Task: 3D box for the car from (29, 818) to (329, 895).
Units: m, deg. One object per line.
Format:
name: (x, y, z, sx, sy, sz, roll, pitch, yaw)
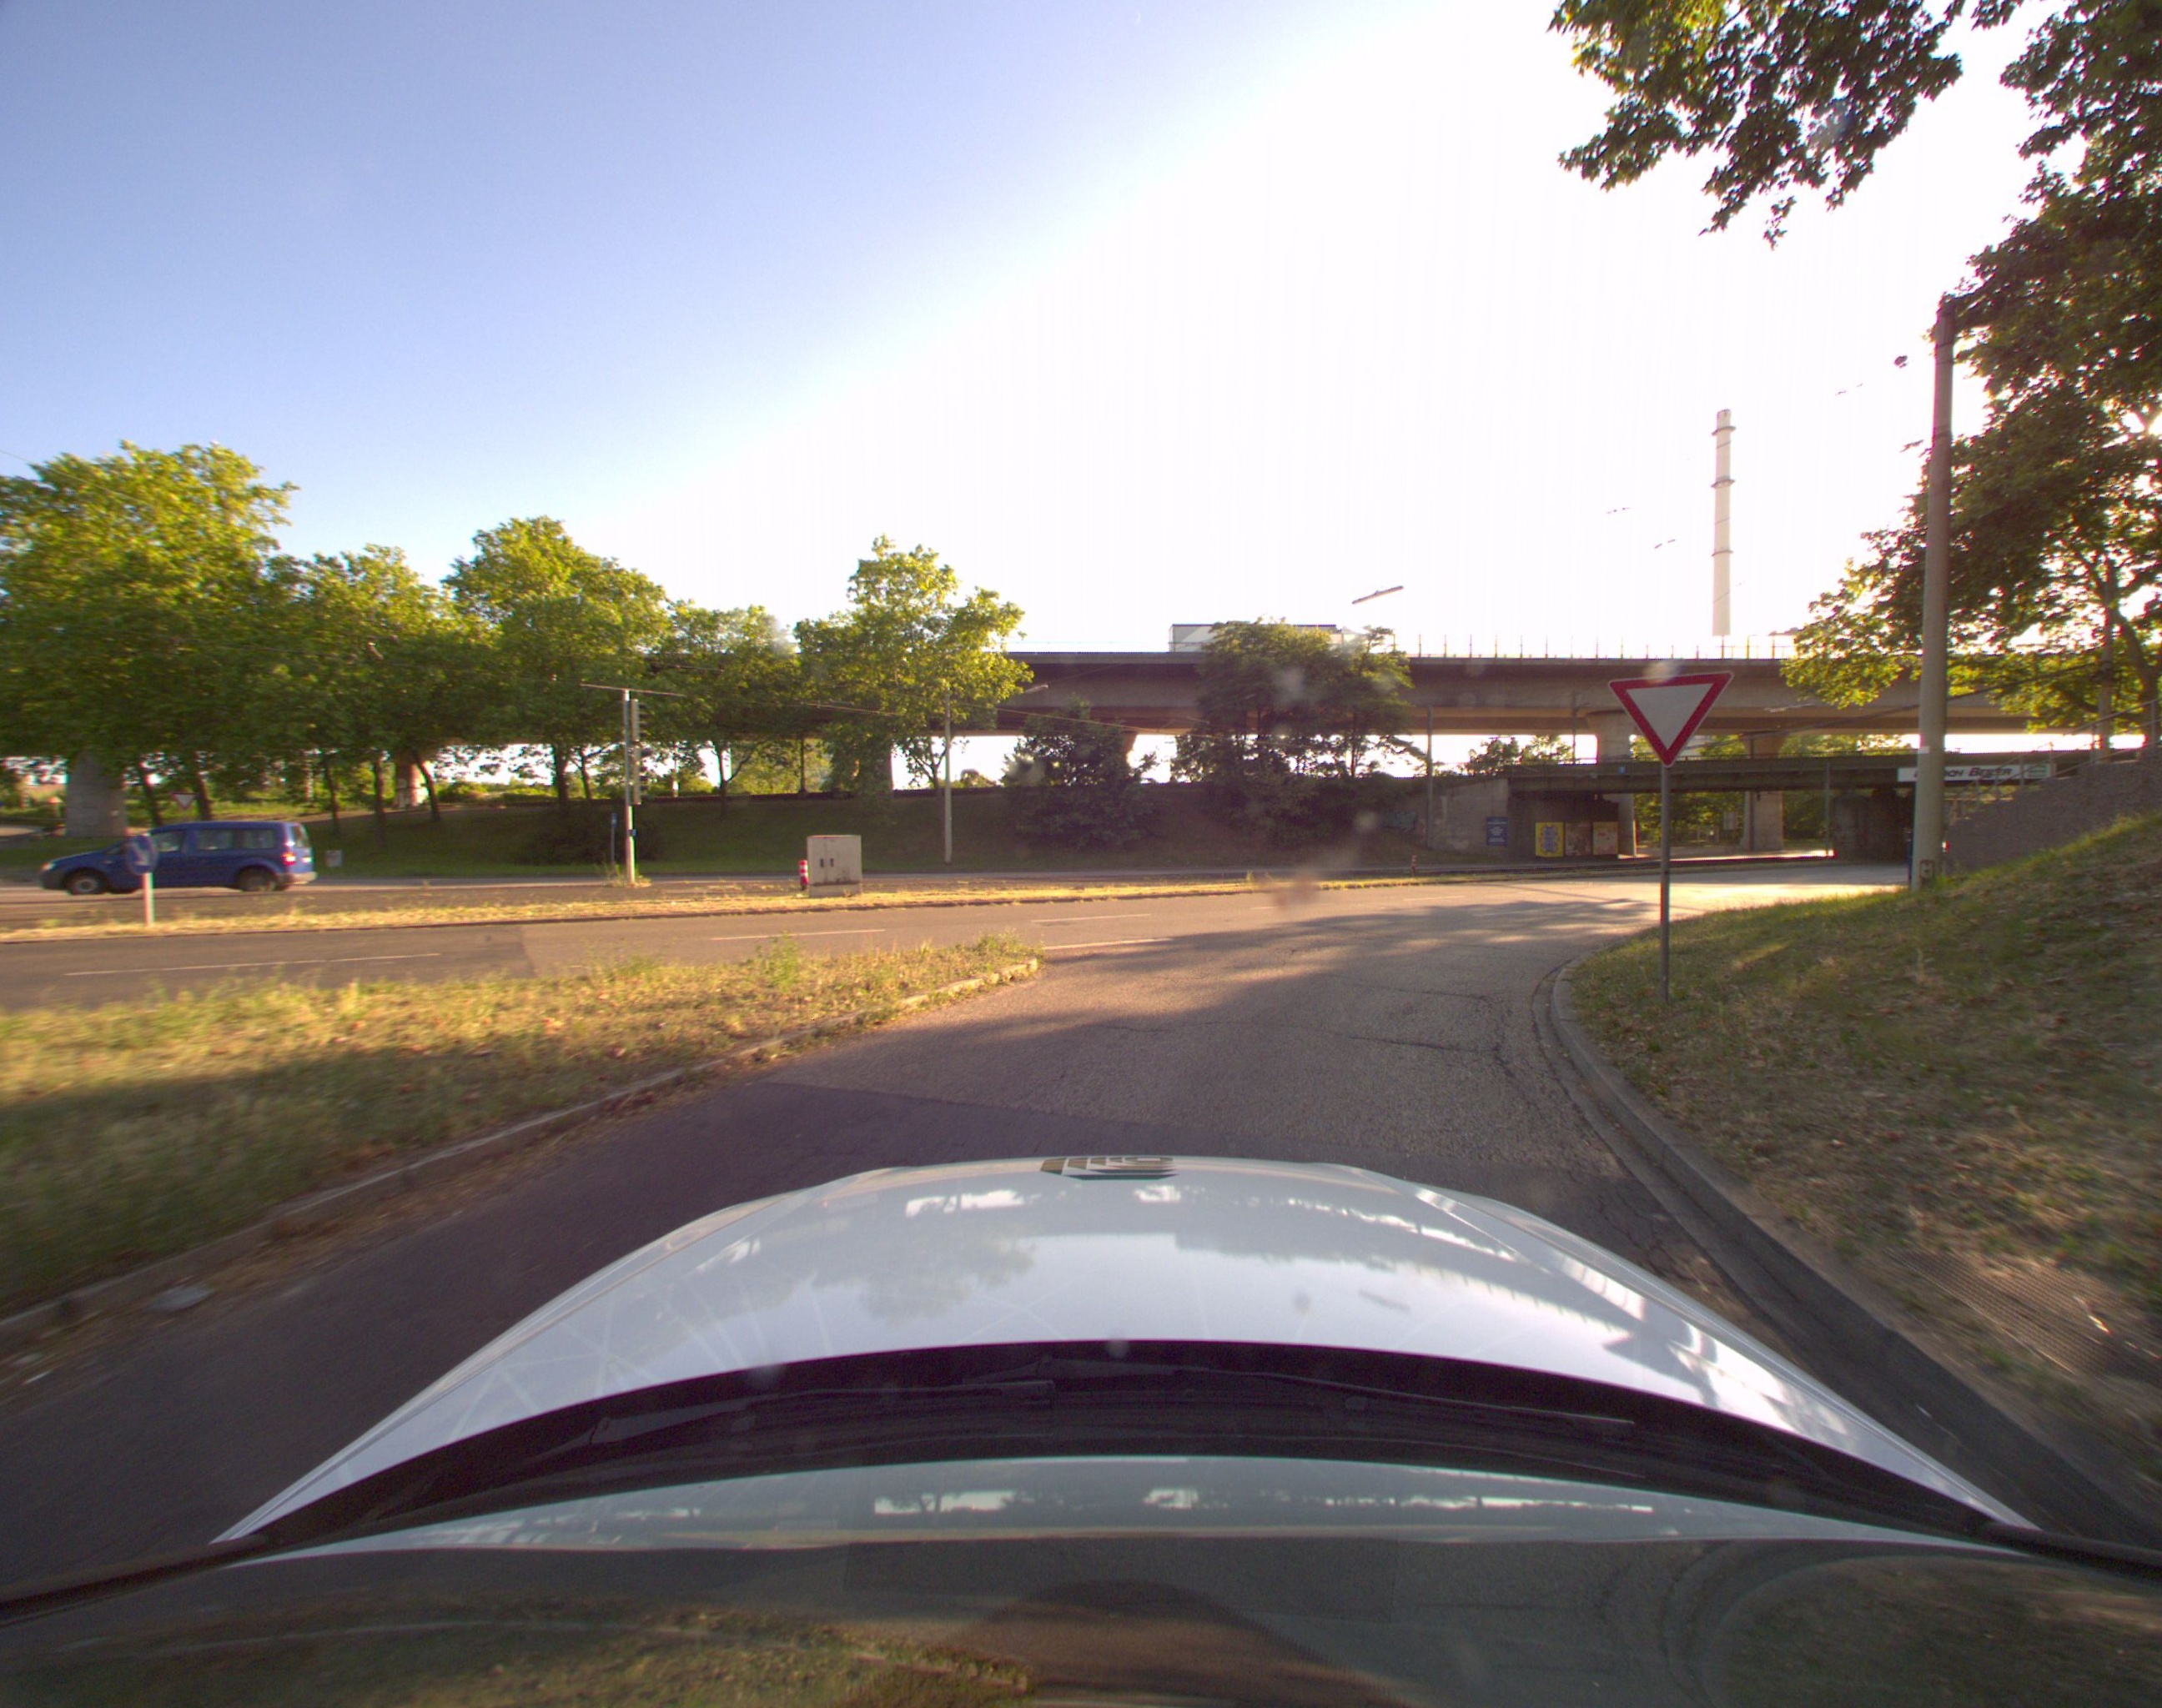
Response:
car: (-21.663, 0.024, 19.902, 4.535, 1.692, 1.980, 0, 1, -33)
